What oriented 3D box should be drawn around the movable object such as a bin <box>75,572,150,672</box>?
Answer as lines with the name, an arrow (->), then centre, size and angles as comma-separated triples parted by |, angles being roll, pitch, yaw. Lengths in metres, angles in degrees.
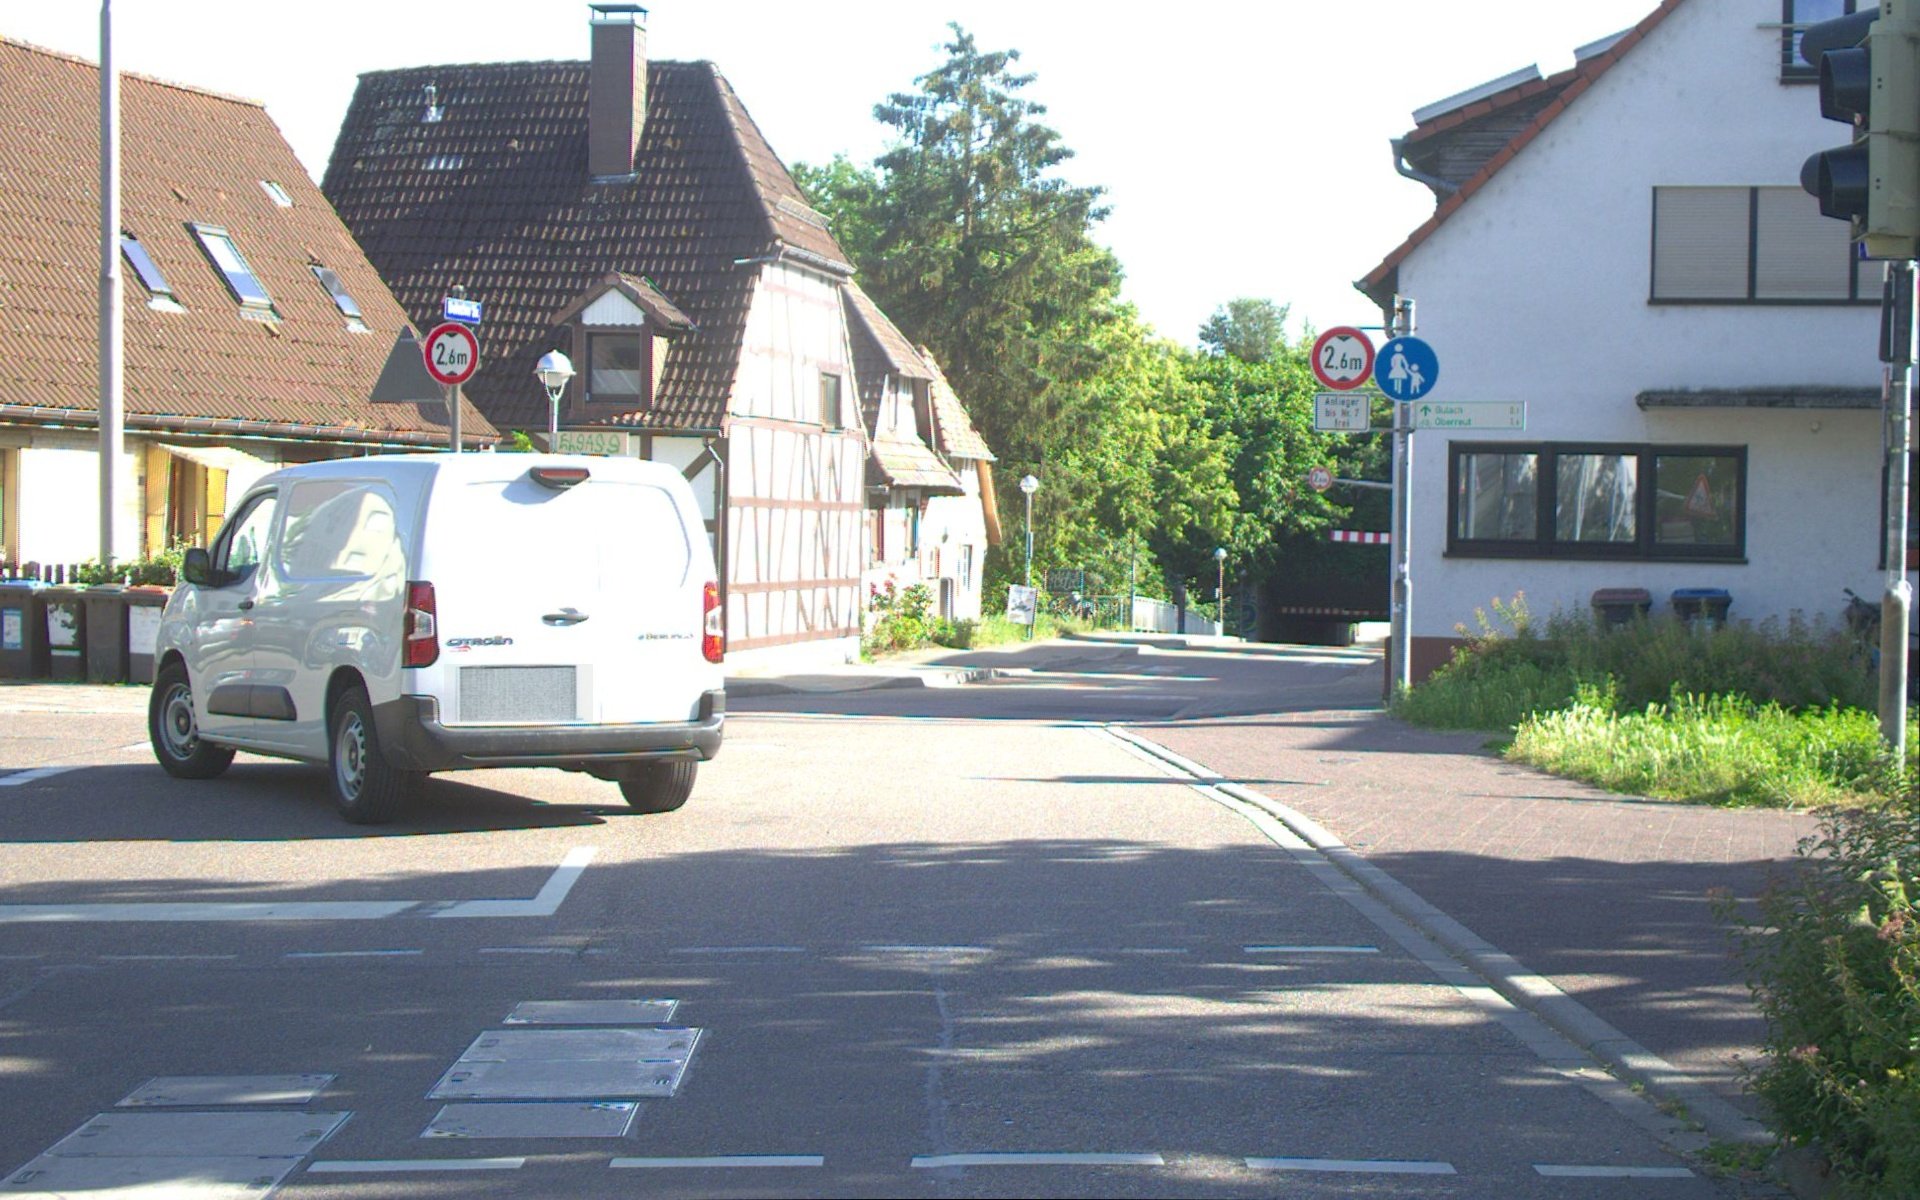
movable object such as a bin -> -8.035, 0.206, 32.586 | 0.411, 0.921, 0.625 | 2, 1, 17

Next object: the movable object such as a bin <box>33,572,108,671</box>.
movable object such as a bin -> -8.468, 0.200, 32.729 | 0.412, 0.902, 0.625 | 2, 2, 17

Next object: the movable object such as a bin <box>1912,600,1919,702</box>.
movable object such as a bin -> 9.539, 0.497, 33.340 | 0.498, 0.973, 0.594 | 2, 1, 9

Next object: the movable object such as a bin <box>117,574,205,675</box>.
movable object such as a bin -> -7.536, 0.227, 32.432 | 0.556, 0.921, 0.625 | 2, 1, 17

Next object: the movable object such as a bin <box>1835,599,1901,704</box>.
movable object such as a bin -> 8.824, 0.497, 33.429 | 0.529, 0.980, 0.669 | 2, 1, 9

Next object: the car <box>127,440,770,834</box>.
car -> -2.902, 0.089, 18.523 | 1.957, 1.841, 4.561 | 0, 2, -29

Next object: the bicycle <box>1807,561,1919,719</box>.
bicycle -> 8.064, 0.344, 28.867 | 1.737, 1.279, 0.700 | 2, 0, 8

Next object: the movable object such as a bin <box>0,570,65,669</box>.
movable object such as a bin -> -8.964, 0.182, 32.900 | 0.508, 0.921, 0.625 | 2, 1, 17

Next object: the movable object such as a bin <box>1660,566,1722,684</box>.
movable object such as a bin -> 7.148, 0.239, 33.633 | 0.527, 1.119, 0.748 | 2, 1, 9
